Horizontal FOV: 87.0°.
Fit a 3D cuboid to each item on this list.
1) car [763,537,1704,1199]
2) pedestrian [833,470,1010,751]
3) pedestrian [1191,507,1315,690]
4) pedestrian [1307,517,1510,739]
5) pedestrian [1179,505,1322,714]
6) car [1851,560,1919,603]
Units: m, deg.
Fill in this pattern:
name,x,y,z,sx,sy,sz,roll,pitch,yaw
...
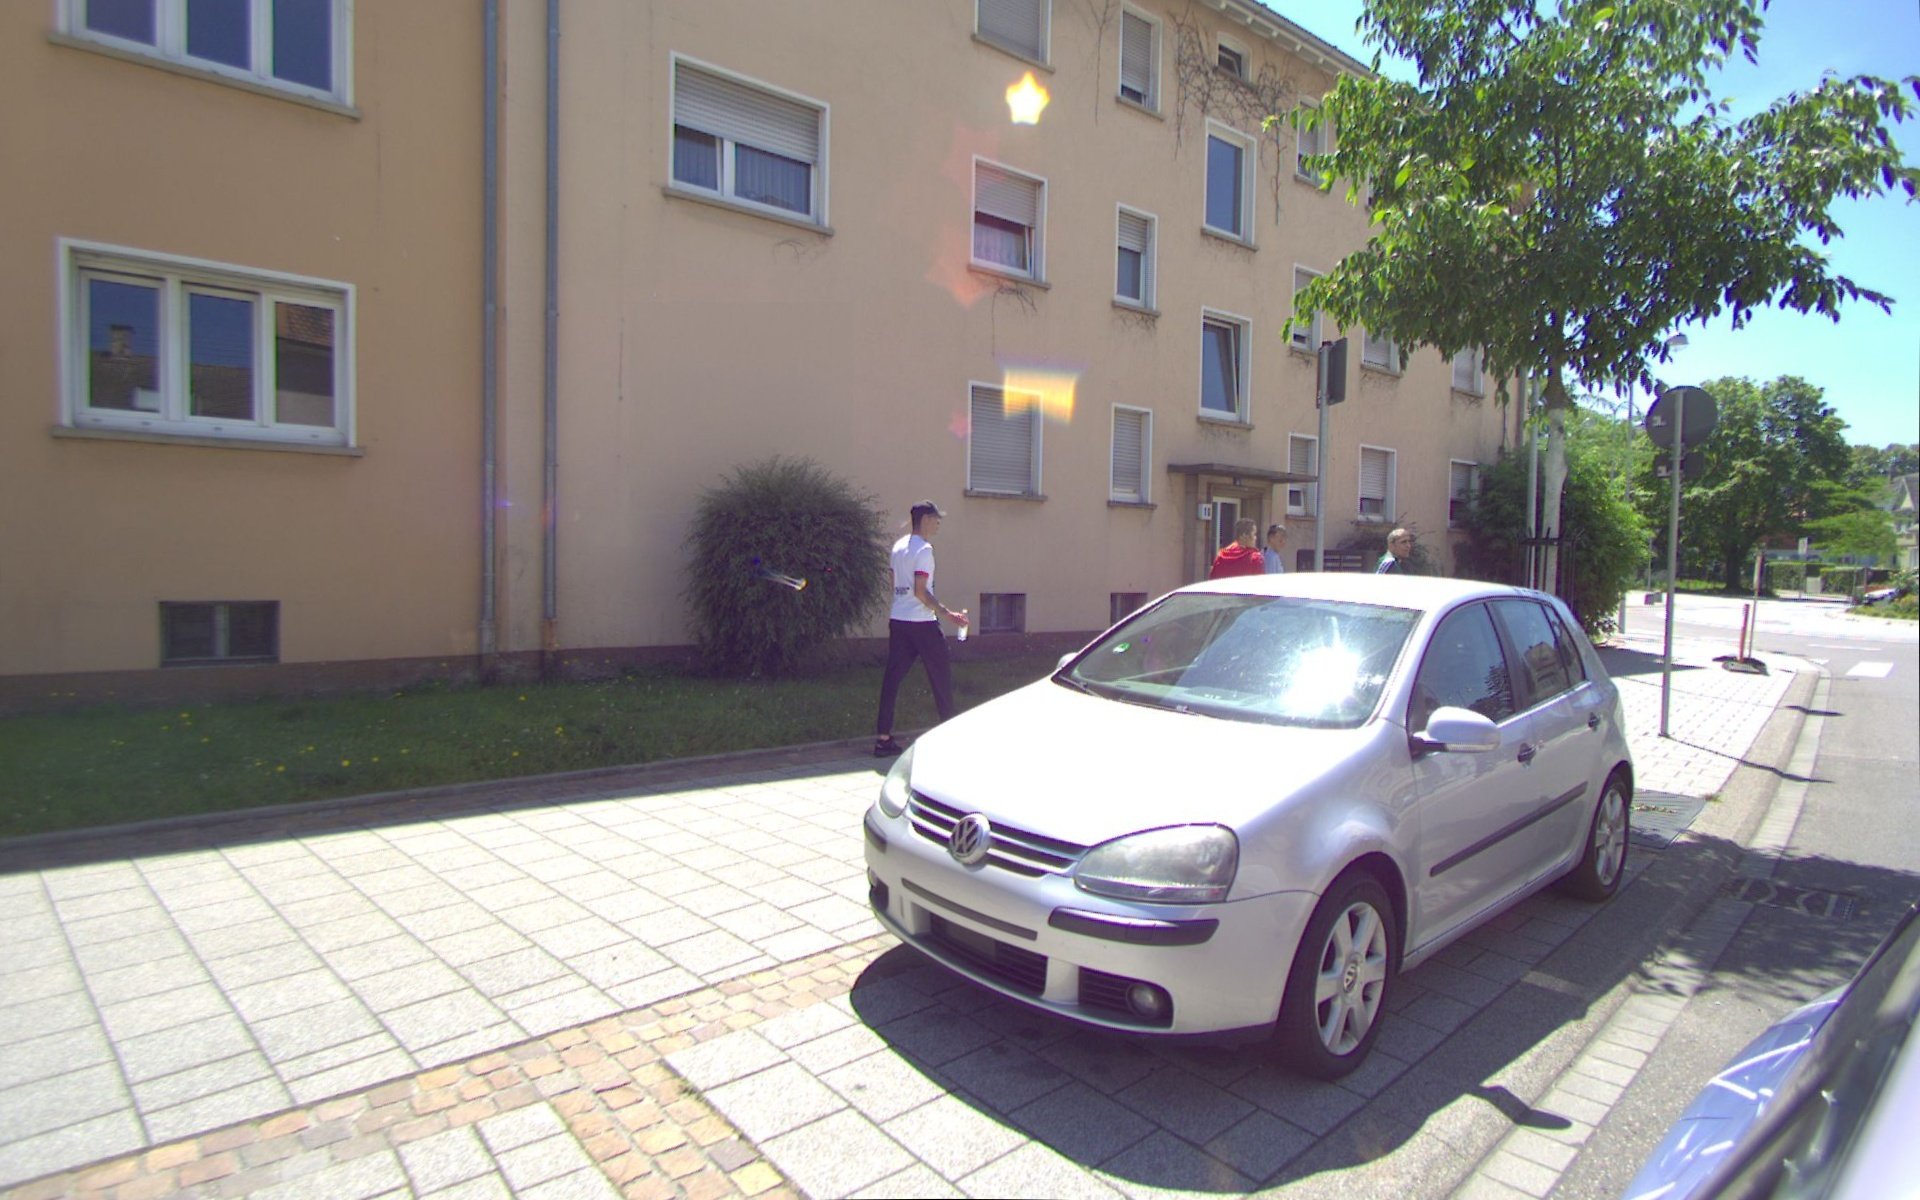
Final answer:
name,x,y,z,sx,sy,sz,roll,pitch,yaw
car,1.550,0.528,4.396,4.430,1.494,1.816,-2,4,-42
pedestrian,-0.284,0.051,7.393,0.967,1.876,0.822,-1,2,-42
pedestrian,3.062,-0.037,10.571,0.991,1.800,0.795,0,2,-42
pedestrian,3.952,0.181,8.938,1.171,1.753,1.173,-1,5,-42
pedestrian,2.722,0.055,9.483,0.989,1.833,0.789,0,4,-42
car,40.641,-0.756,42.390,4.522,1.758,1.983,2,3,26
